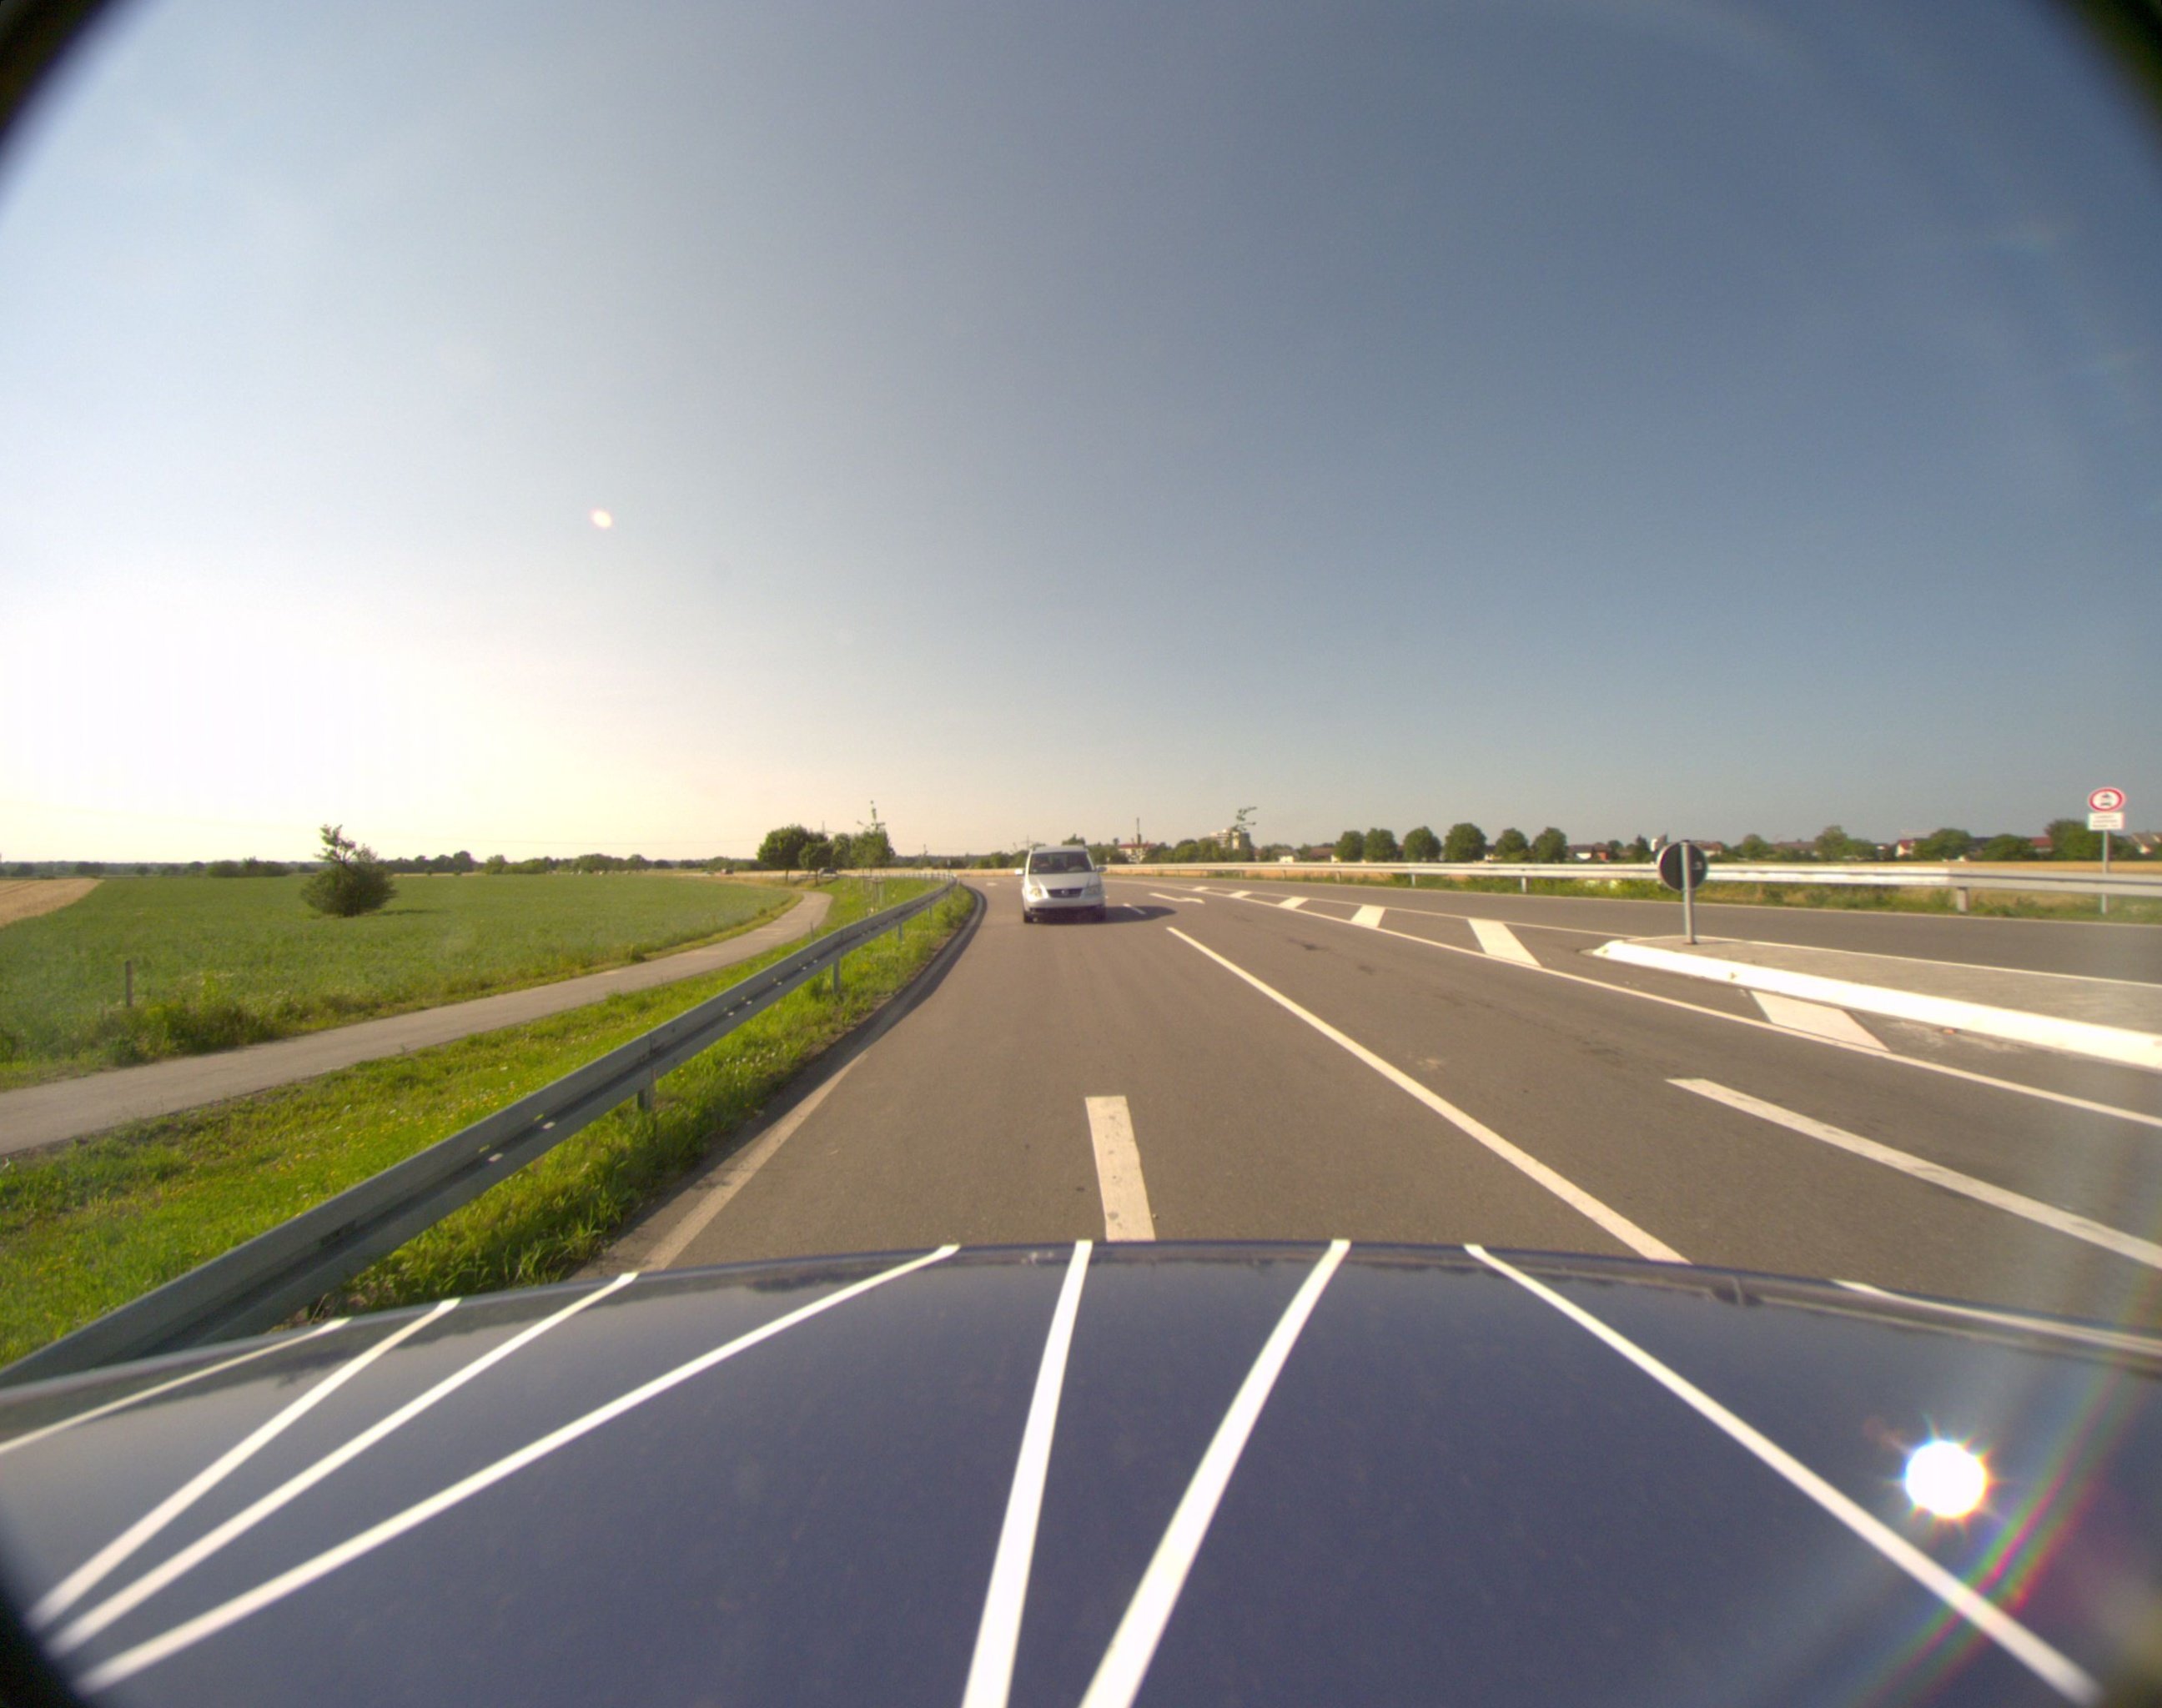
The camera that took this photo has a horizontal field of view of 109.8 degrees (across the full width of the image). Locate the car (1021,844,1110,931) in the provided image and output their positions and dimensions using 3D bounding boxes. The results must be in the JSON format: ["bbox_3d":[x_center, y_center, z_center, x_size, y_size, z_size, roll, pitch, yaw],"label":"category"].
[{"bbox_3d":[-0.449,0.657,17.475,1.756,1.685,4.213,-2,1,-4],"label":"car"}]

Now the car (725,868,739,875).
[{"bbox_3d":[-82.412,4.114,179.183,1.818,1.663,3.989,-3,1,-42],"label":"car"}]
